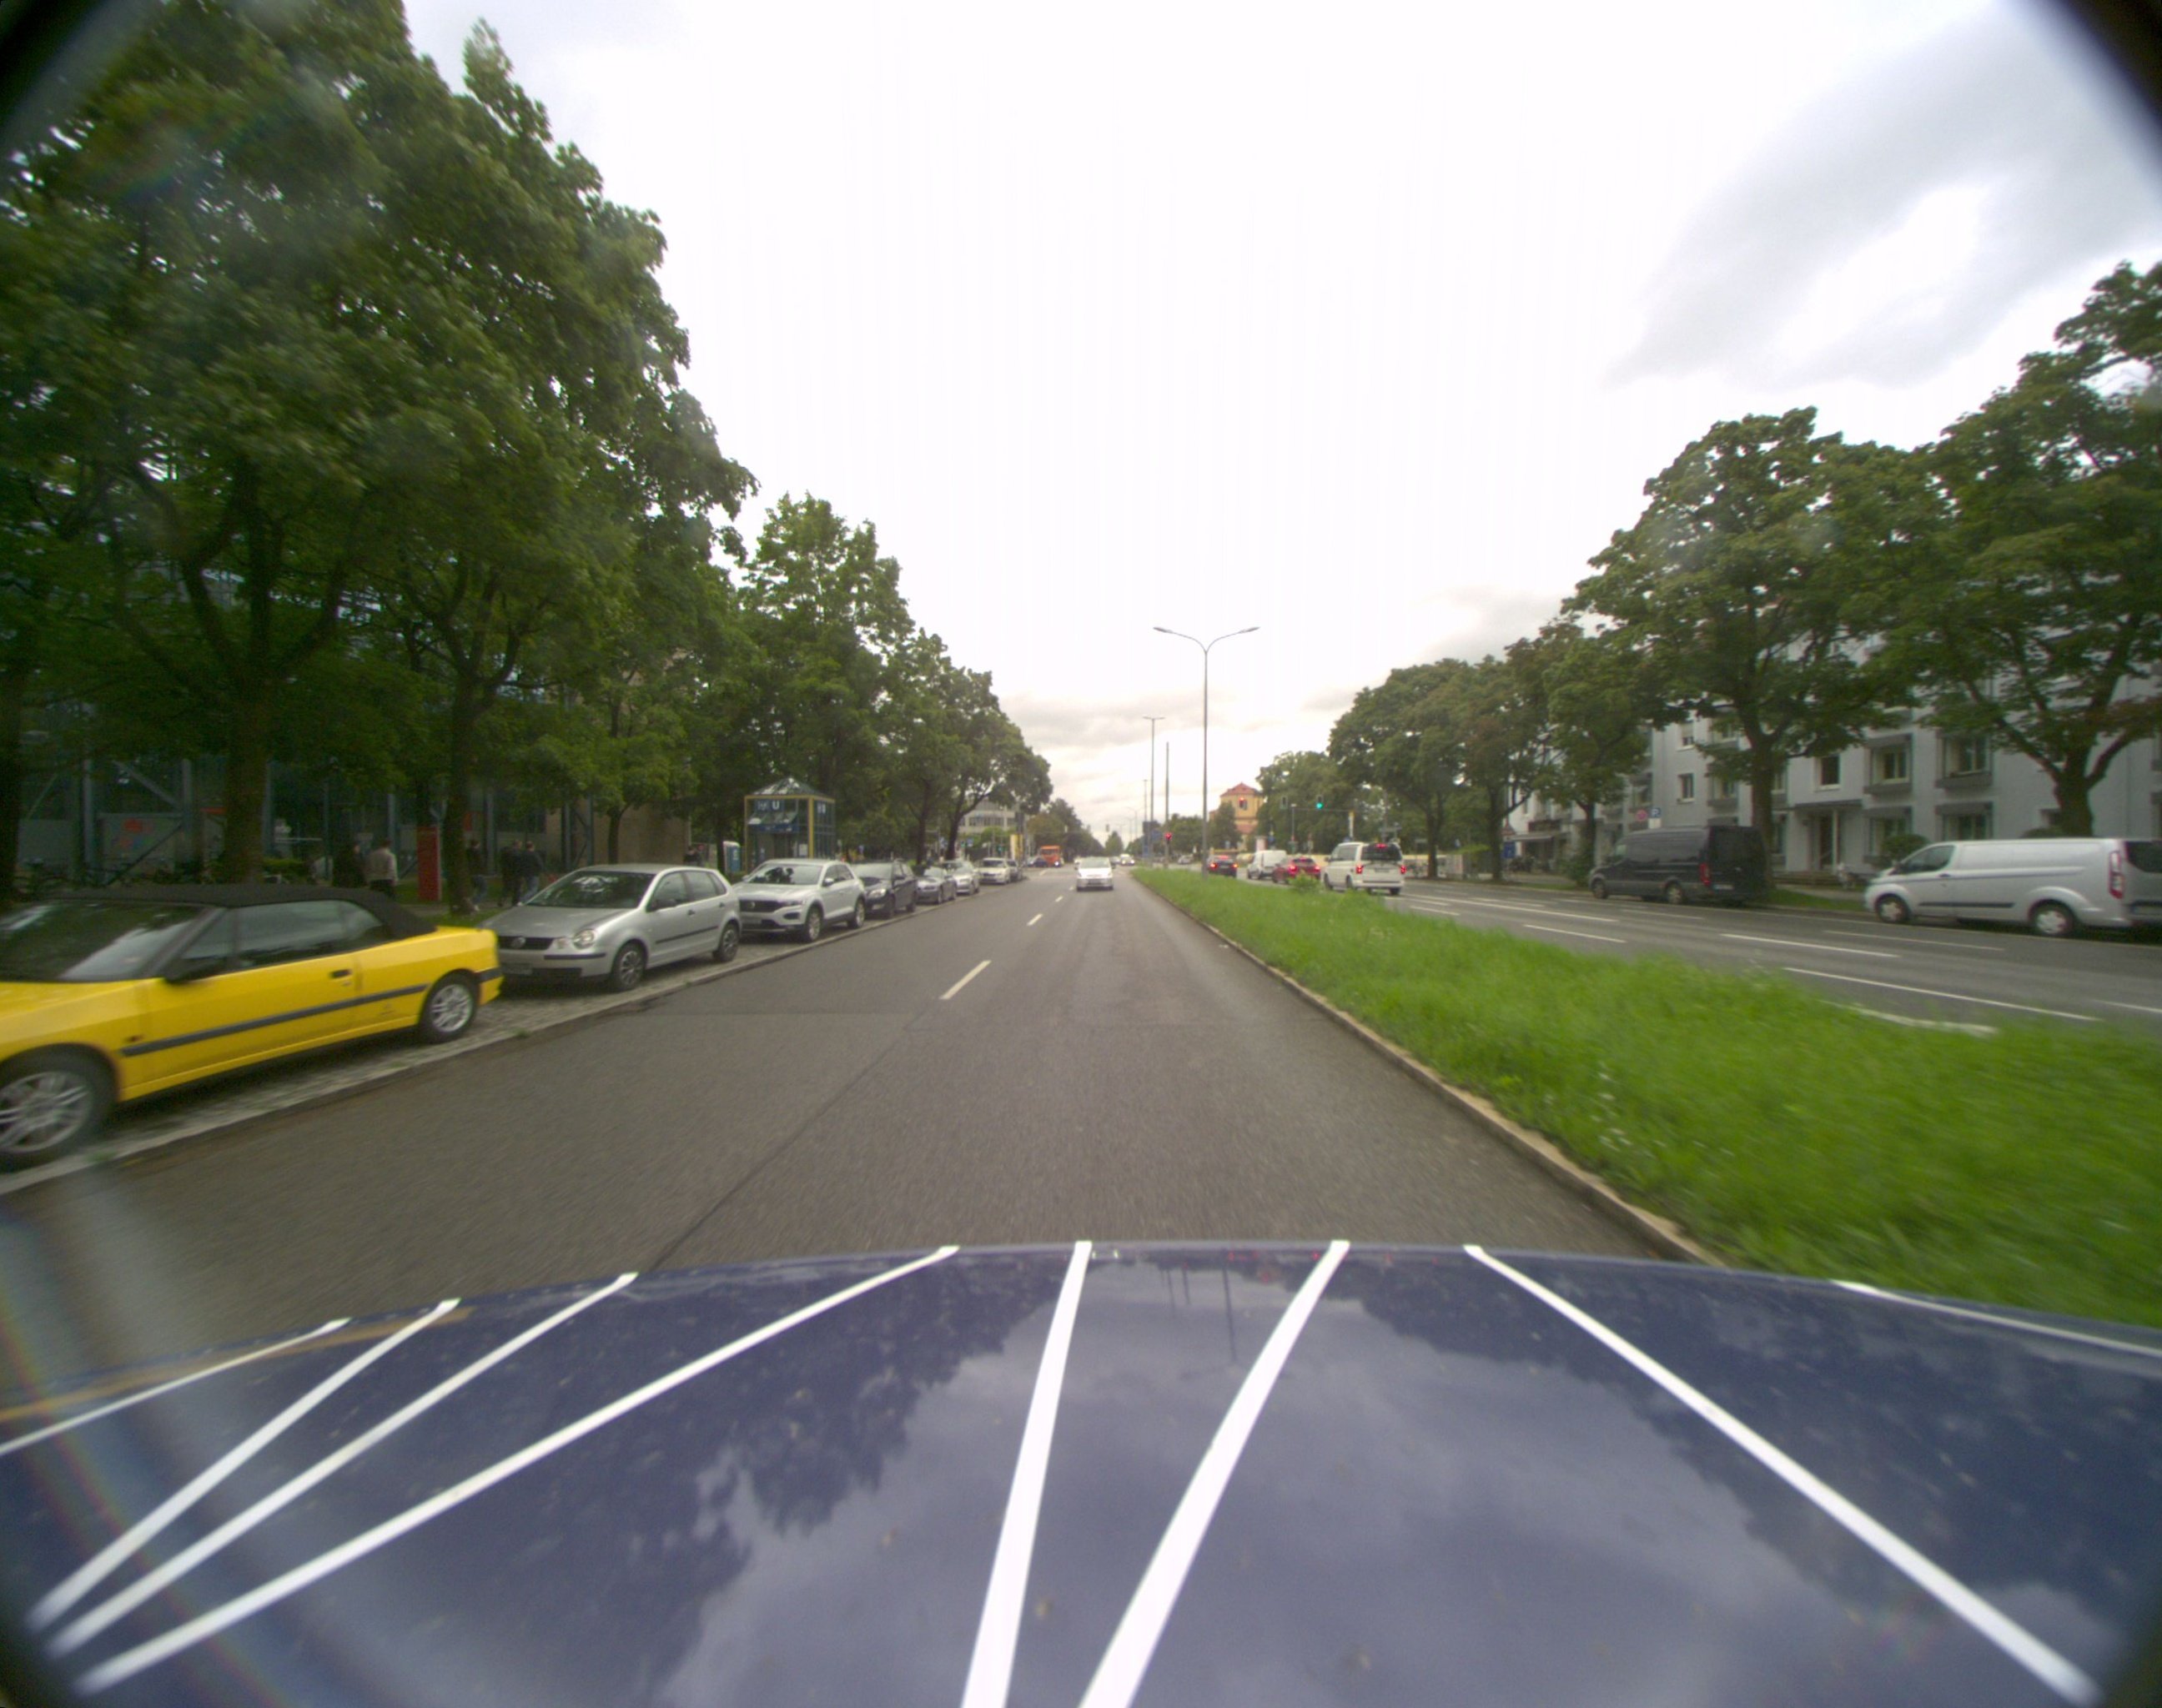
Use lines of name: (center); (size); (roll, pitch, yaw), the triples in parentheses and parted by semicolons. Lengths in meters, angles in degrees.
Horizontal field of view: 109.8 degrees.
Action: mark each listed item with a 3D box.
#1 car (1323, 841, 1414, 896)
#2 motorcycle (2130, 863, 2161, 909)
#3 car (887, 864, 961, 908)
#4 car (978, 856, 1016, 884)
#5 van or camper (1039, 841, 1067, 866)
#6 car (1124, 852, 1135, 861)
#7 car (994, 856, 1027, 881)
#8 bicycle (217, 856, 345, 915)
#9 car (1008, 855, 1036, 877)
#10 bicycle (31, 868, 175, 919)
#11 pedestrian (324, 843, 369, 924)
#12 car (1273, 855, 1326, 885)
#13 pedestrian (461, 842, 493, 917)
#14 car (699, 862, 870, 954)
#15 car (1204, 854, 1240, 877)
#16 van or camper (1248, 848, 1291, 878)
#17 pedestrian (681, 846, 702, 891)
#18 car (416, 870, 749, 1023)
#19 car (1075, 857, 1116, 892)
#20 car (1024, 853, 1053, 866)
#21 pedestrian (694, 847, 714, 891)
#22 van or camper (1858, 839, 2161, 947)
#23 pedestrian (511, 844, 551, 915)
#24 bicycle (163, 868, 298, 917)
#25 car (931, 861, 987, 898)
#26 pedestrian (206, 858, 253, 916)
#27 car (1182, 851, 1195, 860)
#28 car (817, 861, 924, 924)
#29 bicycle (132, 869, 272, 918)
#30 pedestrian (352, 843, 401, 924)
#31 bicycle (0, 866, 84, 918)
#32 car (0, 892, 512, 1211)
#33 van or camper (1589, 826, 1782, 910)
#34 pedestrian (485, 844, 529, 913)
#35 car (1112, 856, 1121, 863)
car: (11.182, 0.516, 29.914); (1.944, 1.986, 4.704); (0, 0, 2)
motorcycle: (27.973, 0.813, 19.400); (1.813, 1.164, 0.464); (0, 1, -3)
car: (-5.262, 1.029, 25.872); (1.590, 1.310, 3.735); (0, 0, 2)
car: (-4.726, 0.889, 42.959); (1.590, 1.495, 3.735); (0, 0, 2)
van or camper: (-4.087, -0.114, 113.002); (3.321, 3.533, 10.898); (0, 0, 2)
car: (7.352, 0.389, 115.442); (1.590, 1.259, 3.735); (0, 0, 2)
car: (-4.411, 0.902, 48.143); (1.590, 1.495, 3.735); (0, 0, 2)
bicycle: (-17.332, 0.644, 16.546); (0.512, 1.185, 2.141); (0, 1, 0)
car: (-4.189, 0.816, 54.130); (1.590, 1.495, 3.735); (0, 0, 2)
bicycle: (-19.632, 0.776, 15.314); (0.618, 0.935, 1.762); (0, 0, 0)
pedestrian: (-15.109, 0.601, 15.633); (0.507, 1.619, 0.426); (2, 1, -3)
car: (11.224, 0.806, 39.231); (1.795, 1.440, 3.672); (0, 0, 2)
pedestrian: (-13.819, 0.577, 17.394); (0.433, 1.680, 0.349); (0, 1, -3)
car: (-5.689, 0.957, 15.172); (1.682, 1.522, 4.096); (0, 0, 2)
car: (9.156, 0.711, 49.563); (1.761, 1.440, 3.672); (0, 0, 2)
van or camper: (11.765, 0.523, 47.713); (1.795, 1.787, 4.125); (0, 0, 2)
pedestrian: (-15.280, 0.564, 29.841); (0.528, 1.713, 0.559); (2, 1, -3)
car: (-6.011, 0.997, 9.802); (1.626, 1.466, 3.896); (0, 0, 2)
car: (0.668, 0.866, 33.431); (1.679, 1.434, 3.735); (0, 0, 2)
car: (-5.780, 0.692, 103.906); (1.995, 1.724, 4.597); (0, 0, 26)
pedestrian: (-15.141, 0.594, 30.543); (0.528, 1.713, 0.559); (2, 1, -3)
van or camper: (19.633, 0.698, 15.899); (2.025, 1.930, 4.704); (0, 0, 2)
pedestrian: (-13.611, 0.625, 18.812); (0.528, 1.713, 0.660); (2, 1, -3)
bicycle: (-18.264, 0.798, 16.403); (0.512, 0.935, 2.141); (0, 0, 0)
car: (-5.000, 0.994, 31.502); (1.590, 1.395, 3.735); (0, 0, 2)
pedestrian: (-17.797, 0.679, 15.882); (0.506, 1.172, 0.426); (2, 1, 1)
car: (22.072, 0.274, 155.711); (2.145, 1.878, 4.000); (0, 0, 1)
car: (-5.513, 0.955, 20.365); (1.682, 1.497, 3.735); (0, 0, 2)
bicycle: (-18.798, 0.810, 16.328); (0.512, 0.935, 2.141); (0, 0, 0)
pedestrian: (-14.520, 0.607, 15.675); (0.612, 1.632, 0.434); (2, 1, 3)
bicycle: (-20.769, 0.739, 14.571); (0.572, 0.935, 2.064); (0, 1, 0)
car: (-6.124, 1.057, 4.993); (1.627, 1.373, 4.194); (1, 0, 0)
van or camper: (19.866, 0.407, 25.402); (2.054, 2.472, 5.548); (0, 0, 1)
pedestrian: (-14.196, 0.596, 18.804); (0.612, 1.680, 0.611); (2, 1, -3)
car: (6.889, 1.055, 147.545); (1.590, 1.259, 3.735); (0, 0, 2)
